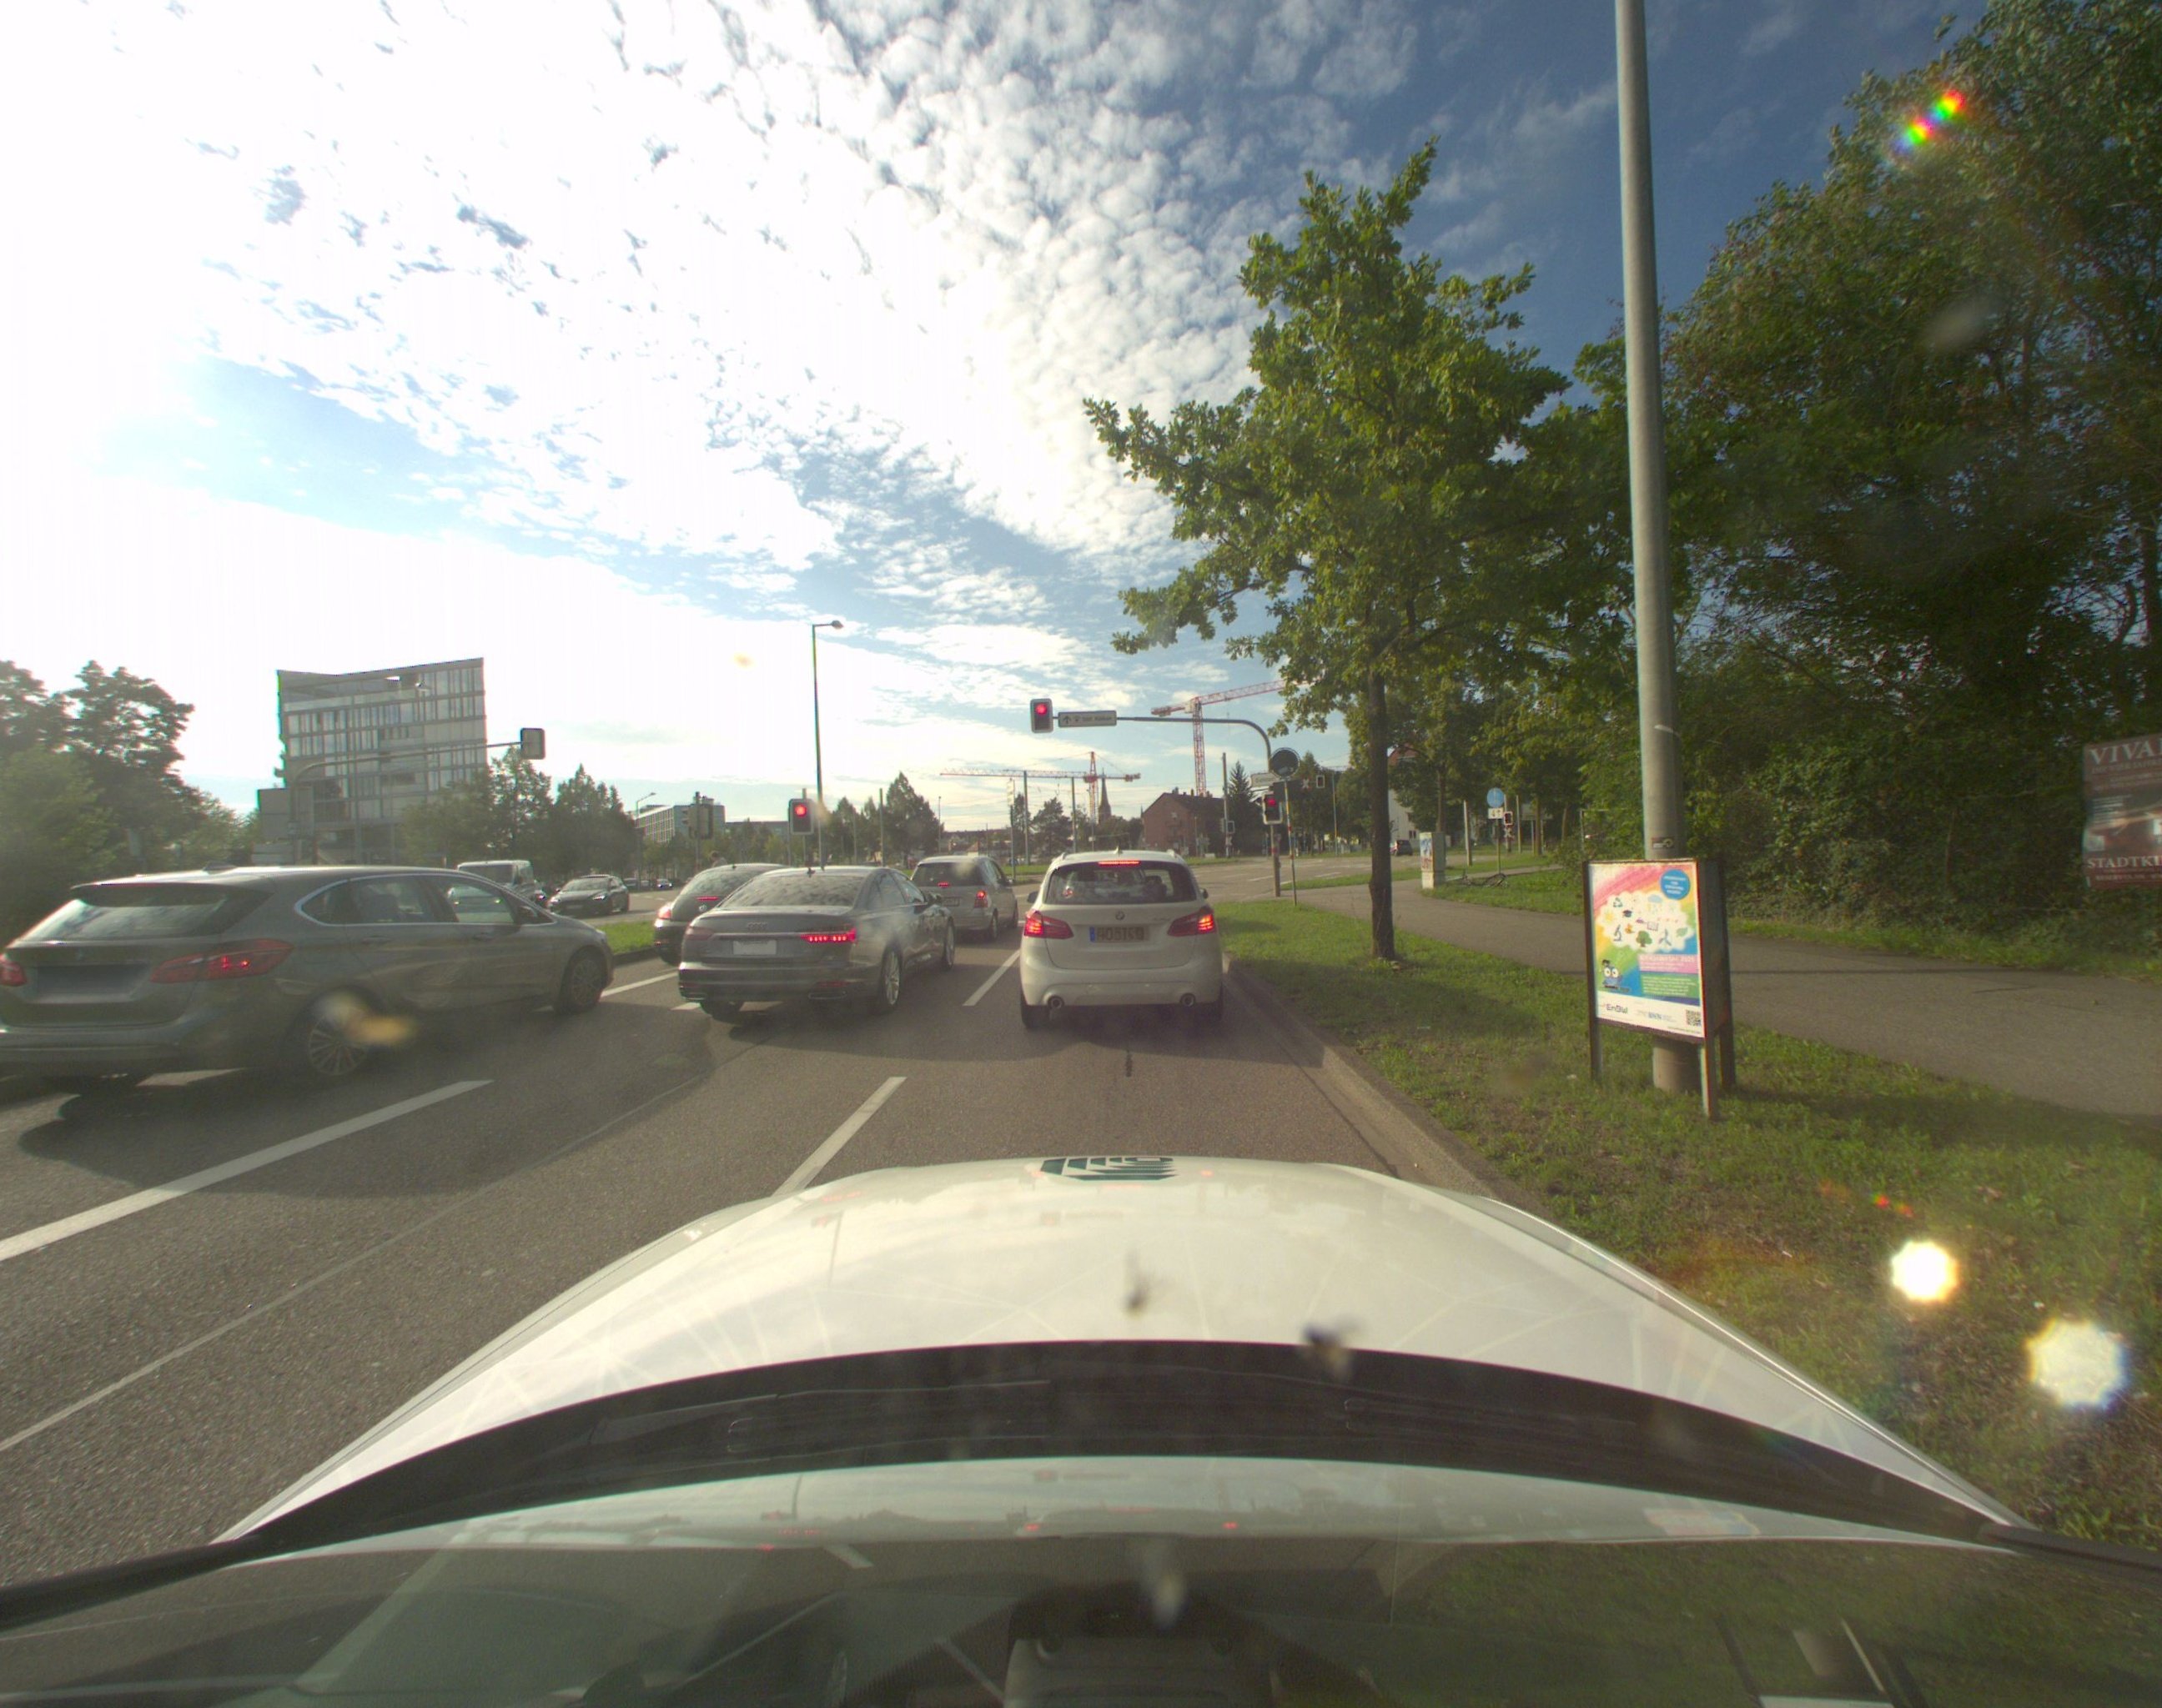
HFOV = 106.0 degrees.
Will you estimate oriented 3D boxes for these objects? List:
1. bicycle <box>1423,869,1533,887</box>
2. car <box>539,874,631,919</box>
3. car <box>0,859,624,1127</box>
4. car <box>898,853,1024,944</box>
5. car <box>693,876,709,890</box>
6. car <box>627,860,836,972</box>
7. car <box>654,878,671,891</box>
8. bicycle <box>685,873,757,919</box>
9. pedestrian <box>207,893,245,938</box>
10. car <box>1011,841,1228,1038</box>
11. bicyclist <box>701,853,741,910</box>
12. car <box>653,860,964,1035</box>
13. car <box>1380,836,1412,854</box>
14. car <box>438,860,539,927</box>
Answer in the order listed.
[{"bbox_3d":[10.515,0.624,21.732,1.407,0.385,2.568,-3,0,-9],"label":"bicycle"},{"bbox_3d":[-18.247,1.527,30.155,1.906,1.410,4.180,-4,-1,-18],"label":"car"},{"bbox_3d":[-5.935,0.852,6.878,1.722,1.558,4.021,-1,0,2],"label":"car"},{"bbox_3d":[-2.229,0.771,16.148,1.722,1.558,4.060,-1,0,2],"label":"car"},{"bbox_3d":[-45.556,3.495,97.670,1.623,1.464,3.701,-3,0,-24],"label":"car"},{"bbox_3d":[-5.475,0.880,13.332,1.674,1.523,3.811,-1,0,1],"label":"car"},{"bbox_3d":[-51.008,3.744,99.295,1.600,1.415,3.639,-3,0,-25],"label":"car"},{"bbox_3d":[-10.069,1.159,22.841,1.728,1.163,0.652,-2,-1,-15],"label":"bicycle"},{"bbox_3d":[-30.790,2.208,29.343,0.654,1.569,0.614,-2,-1,-5],"label":"pedestrian"},{"bbox_3d":[0.368,0.694,8.603,1.723,1.558,4.059,-1,0,2],"label":"car"},{"bbox_3d":[-10.079,0.749,22.847,0.850,1.526,0.737,-3,-1,-15],"label":"bicyclist"},{"bbox_3d":[-2.702,0.834,9.378,1.883,1.483,4.614,-1,-1,2],"label":"car"},{"bbox_3d":[29.201,-0.799,75.553,1.567,1.574,3.193,-2,0,-5],"label":"car"},{"bbox_3d":[-23.034,1.490,31.931,2.004,2.235,5.874,-4,0,-25],"label":"car"}]
